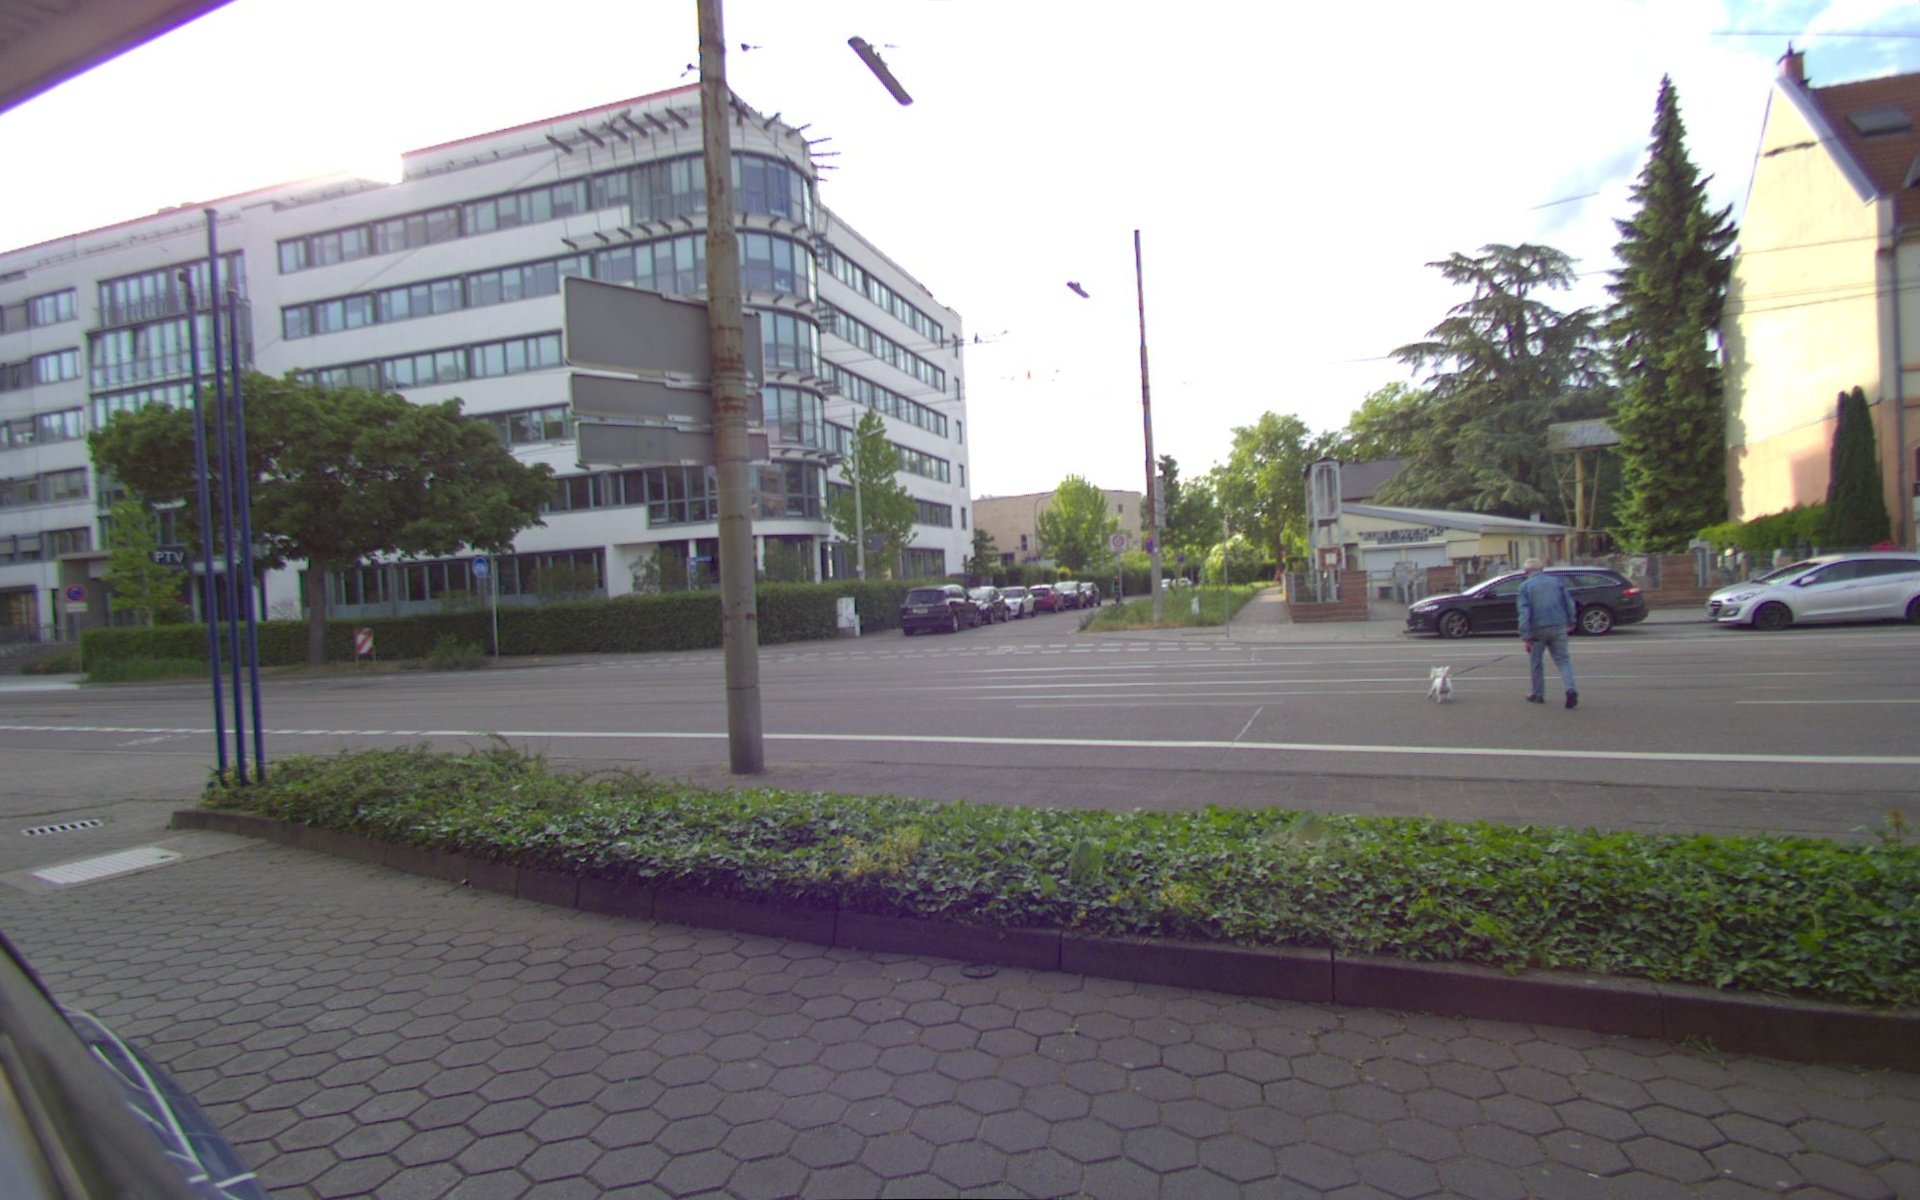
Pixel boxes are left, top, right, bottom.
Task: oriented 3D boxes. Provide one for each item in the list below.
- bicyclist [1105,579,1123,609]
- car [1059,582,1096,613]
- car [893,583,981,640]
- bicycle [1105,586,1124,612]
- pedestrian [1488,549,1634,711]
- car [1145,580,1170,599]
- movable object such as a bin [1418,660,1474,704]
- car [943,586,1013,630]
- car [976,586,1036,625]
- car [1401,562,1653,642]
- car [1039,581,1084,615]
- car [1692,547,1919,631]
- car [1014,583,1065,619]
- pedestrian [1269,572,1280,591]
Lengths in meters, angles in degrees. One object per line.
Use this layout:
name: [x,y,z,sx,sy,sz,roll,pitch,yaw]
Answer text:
bicyclist: [8.693,-0.337,57.075,0.858,1.617,1.024,-3,3,15]
car: [7.289,-0.160,62.491,1.731,1.748,4.030,-3,0,13]
car: [-0.726,0.360,35.412,1.994,1.704,4.274,-3,1,13]
bicycle: [8.735,-0.078,57.169,0.858,1.320,1.911,-3,3,15]
pedestrian: [6.756,0.314,11.432,0.991,1.680,0.970,-4,2,3]
car: [19.699,-1.084,100.788,1.849,1.748,4.247,-3,0,19]
movable object such as a bin: [5.856,0.980,12.220,0.477,0.424,0.676,-4,2,17]
car: [0.793,0.291,40.972,1.929,1.551,4.274,-3,0,13]
car: [2.142,0.214,45.783,1.929,1.530,4.274,-3,0,13]
car: [12.910,0.053,23.439,4.742,1.511,2.001,-3,1,21]
car: [5.835,-0.150,57.718,1.929,1.748,4.512,-3,0,13]
car: [18.421,-0.247,21.378,4.424,1.494,1.713,-3,1,21]
car: [4.175,0.023,52.489,1.929,1.650,4.274,-3,0,13]
pedestrian: [31.986,-1.903,103.015,0.899,1.865,0.942,-3,-1,20]
